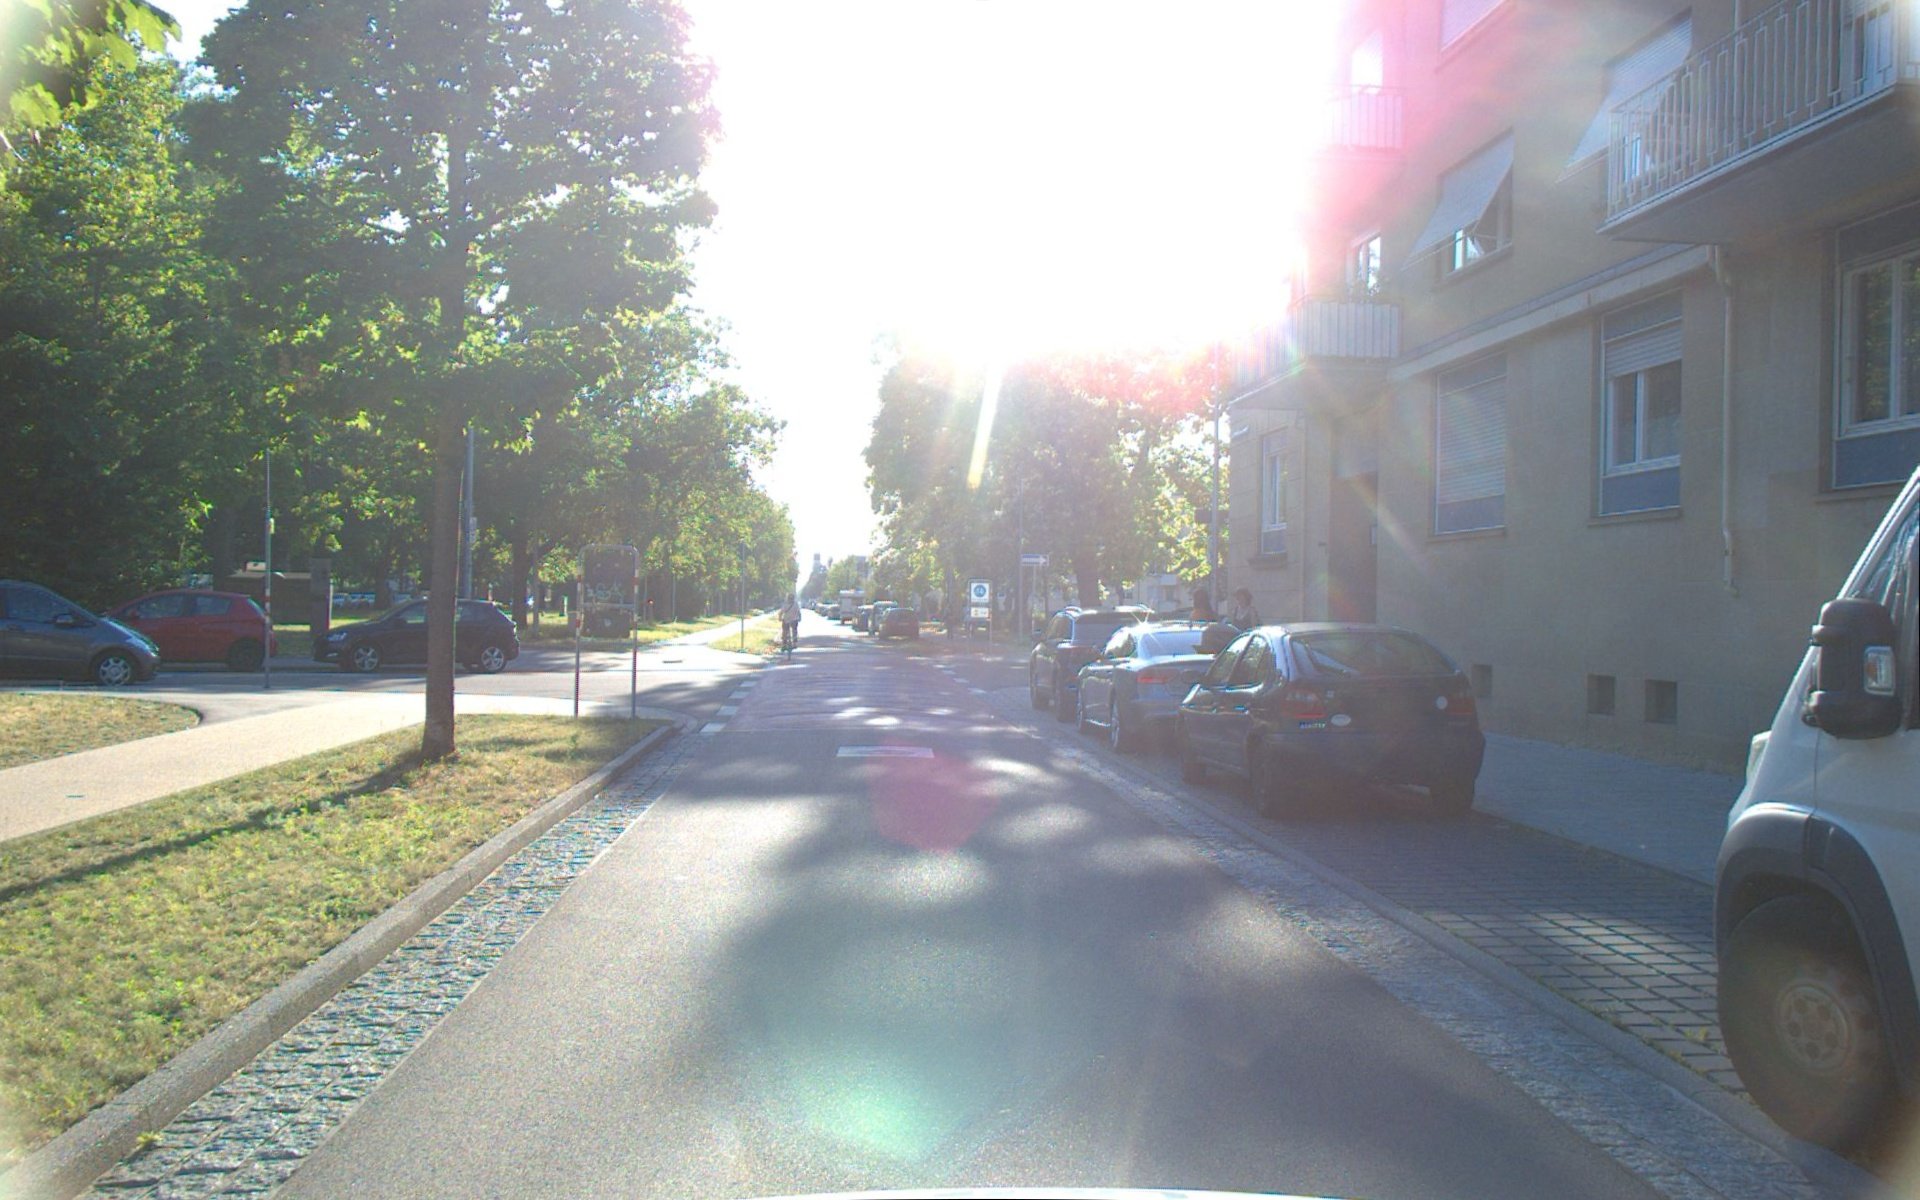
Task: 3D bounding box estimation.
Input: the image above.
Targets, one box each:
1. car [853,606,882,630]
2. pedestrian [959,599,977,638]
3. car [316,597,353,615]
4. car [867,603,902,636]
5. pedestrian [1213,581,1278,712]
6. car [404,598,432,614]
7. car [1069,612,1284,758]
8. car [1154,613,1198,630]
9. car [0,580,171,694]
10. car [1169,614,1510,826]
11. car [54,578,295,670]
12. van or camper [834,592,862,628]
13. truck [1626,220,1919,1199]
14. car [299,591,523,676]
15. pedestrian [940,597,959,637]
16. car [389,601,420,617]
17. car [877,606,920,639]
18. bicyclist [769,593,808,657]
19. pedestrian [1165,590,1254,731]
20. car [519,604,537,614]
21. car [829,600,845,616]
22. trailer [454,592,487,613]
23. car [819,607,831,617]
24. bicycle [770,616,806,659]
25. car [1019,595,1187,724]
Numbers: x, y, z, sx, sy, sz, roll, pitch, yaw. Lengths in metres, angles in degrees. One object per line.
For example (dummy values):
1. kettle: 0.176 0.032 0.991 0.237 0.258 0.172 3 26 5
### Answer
1. car: -6.337 1.250 113.132 1.699 1.578 4.415 1 -1 -7
2. pedestrian: 0.344 0.838 75.298 0.711 1.766 0.731 2 -1 -5
3. car: -54.697 0.507 144.768 1.955 1.534 3.996 1 -1 -5
4. car: -4.226 1.098 91.590 1.646 1.770 4.507 1 -1 -6
5. pedestrian: 4.130 0.667 23.941 0.725 1.862 0.548 2 -1 -42
6. car: -57.240 0.645 174.697 1.955 1.534 4.110 1 -1 -5
7. car: 2.360 0.890 19.059 1.669 1.445 4.345 -1 -1 -3
8. car: 20.434 2.058 156.451 3.905 1.579 1.610 0 -1 22
9. car: -14.075 0.549 24.952 3.793 1.660 1.822 1 -1 -30
10. car: 2.924 0.865 13.635 1.669 1.445 4.033 -1 -1 -3
11. car: -14.802 0.489 31.212 3.946 1.602 1.871 2 -3 -31
12. van or camper: -9.761 0.897 144.101 2.191 2.955 5.664 1 -2 -6
13. truck: 3.636 0.301 2.602 2.086 2.609 6.871 1 -1 -3
14. car: -10.989 0.704 33.138 3.946 1.602 1.871 2 -3 -31
15. pedestrian: -0.474 0.762 75.187 0.738 1.766 0.731 2 -1 -5
16. car: -55.697 0.873 165.811 1.955 1.534 4.110 1 -1 -5
17. car: -2.924 1.059 77.759 1.646 1.512 4.803 1 -1 -6
18. bicyclist: -4.762 0.697 45.985 0.918 1.732 0.905 1 -1 1
19. pedestrian: 3.275 0.783 21.752 0.934 1.800 0.777 2 -1 -7
20. car: -63.802 1.353 244.426 1.955 1.534 4.110 1 -1 -5
21. car: -13.774 0.931 185.264 1.595 1.698 4.243 1 -1 -6
22. trailer: -59.362 0.319 200.604 2.411 2.532 7.042 1 -1 -5
23. car: -19.522 1.763 238.533 1.595 1.434 4.243 1 -1 -6
24. bicycle: -4.761 1.031 45.934 0.723 1.155 2.104 1 -1 1
25. car: 2.002 0.785 24.337 1.670 1.654 4.343 -1 1 -6
